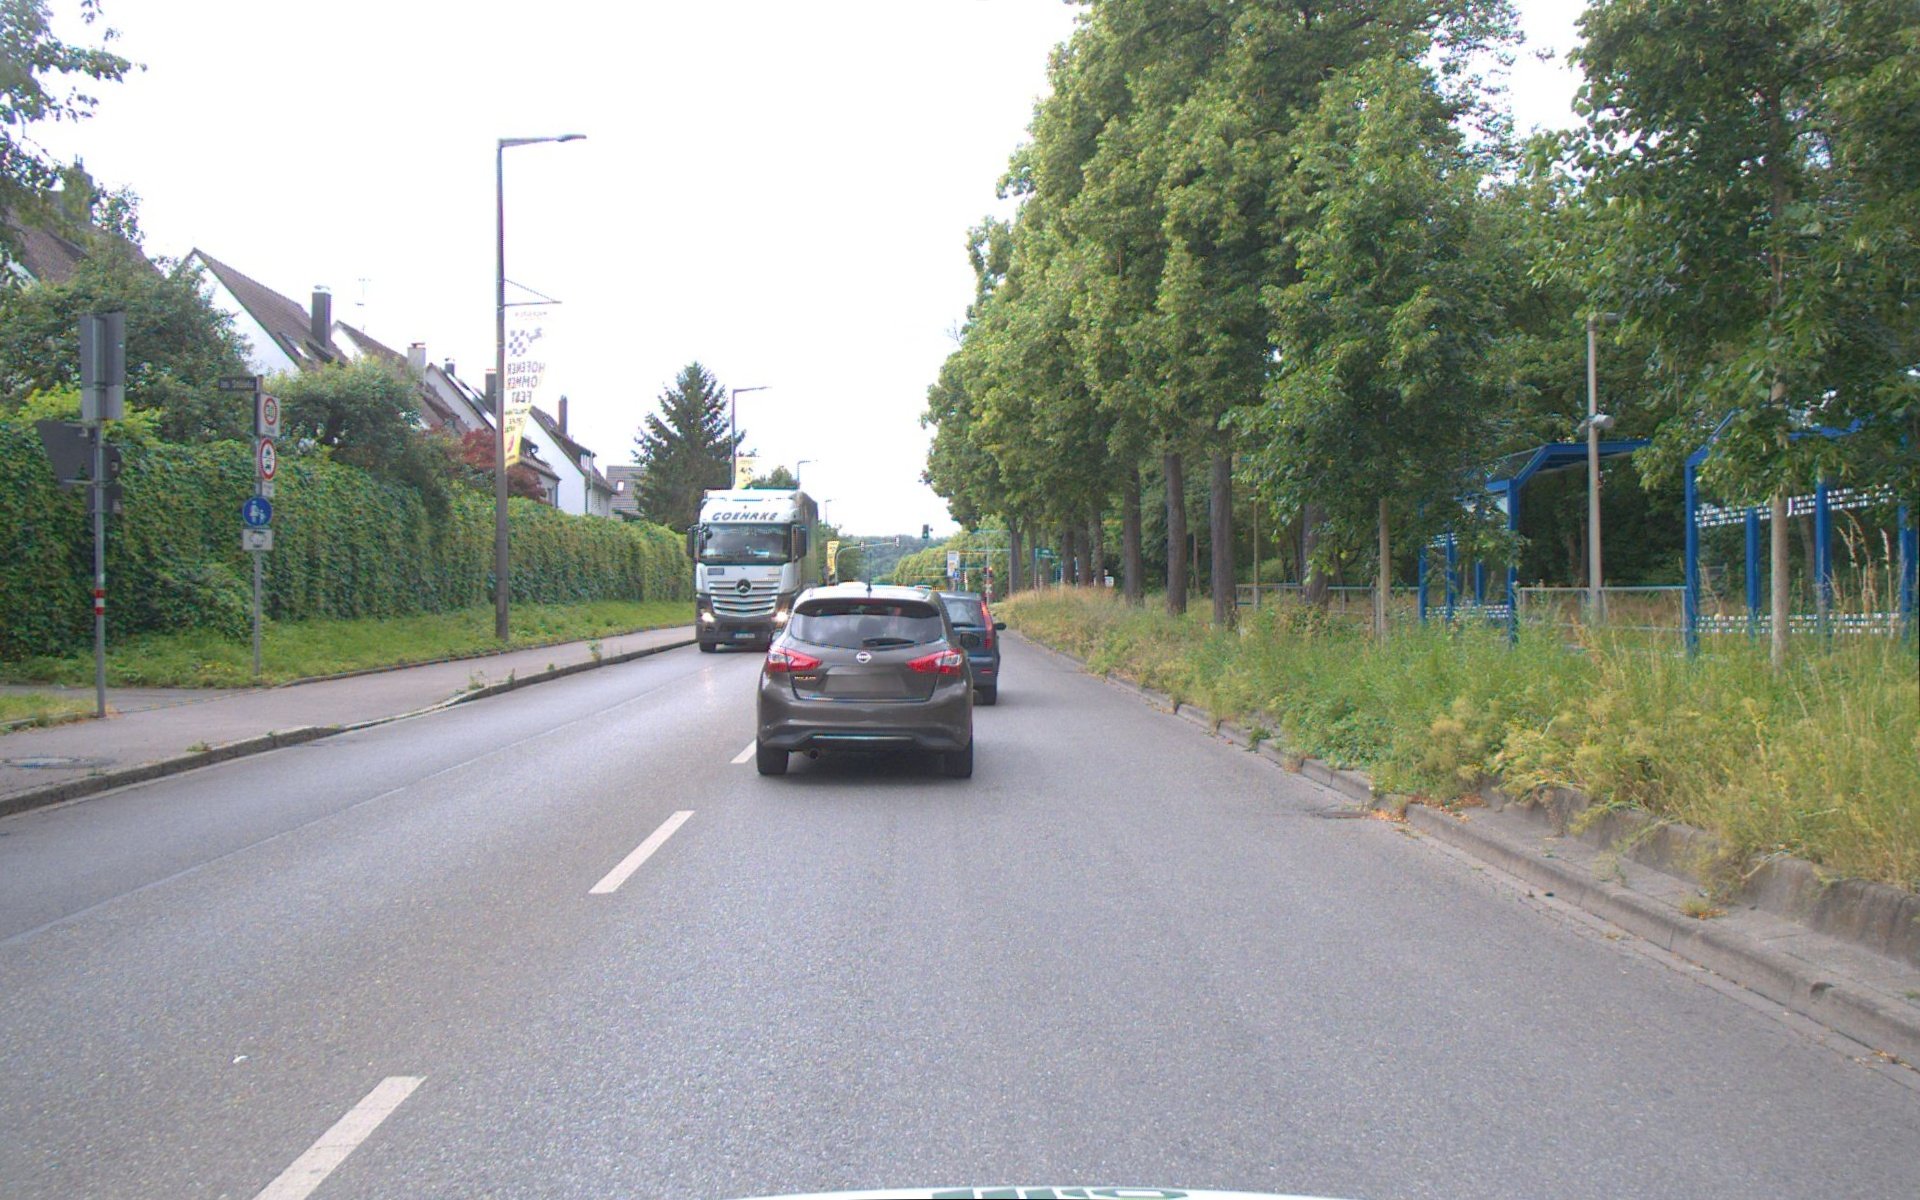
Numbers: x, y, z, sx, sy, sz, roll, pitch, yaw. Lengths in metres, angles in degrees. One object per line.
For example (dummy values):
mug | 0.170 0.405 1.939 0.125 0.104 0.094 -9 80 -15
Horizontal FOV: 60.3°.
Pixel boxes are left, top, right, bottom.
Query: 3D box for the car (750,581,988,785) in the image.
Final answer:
car | -0.730 0.616 14.765 1.798 1.545 4.482 0 0 -1

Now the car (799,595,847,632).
car | -5.486 0.520 66.801 1.698 1.399 4.238 -1 0 -2

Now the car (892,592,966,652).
car | -0.774 0.512 41.234 1.756 1.421 3.999 0 0 -1

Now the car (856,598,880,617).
car | -7.315 0.607 131.721 1.848 1.407 4.488 -1 0 -3

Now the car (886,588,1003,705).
car | -0.238 0.596 23.357 1.507 1.504 3.763 0 0 -1

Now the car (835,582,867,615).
car | -6.729 -0.130 102.315 1.869 1.966 4.908 0 0 -3

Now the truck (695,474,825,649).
truck | -5.227 -0.901 44.969 2.499 4.114 10.615 -2 0 -2
